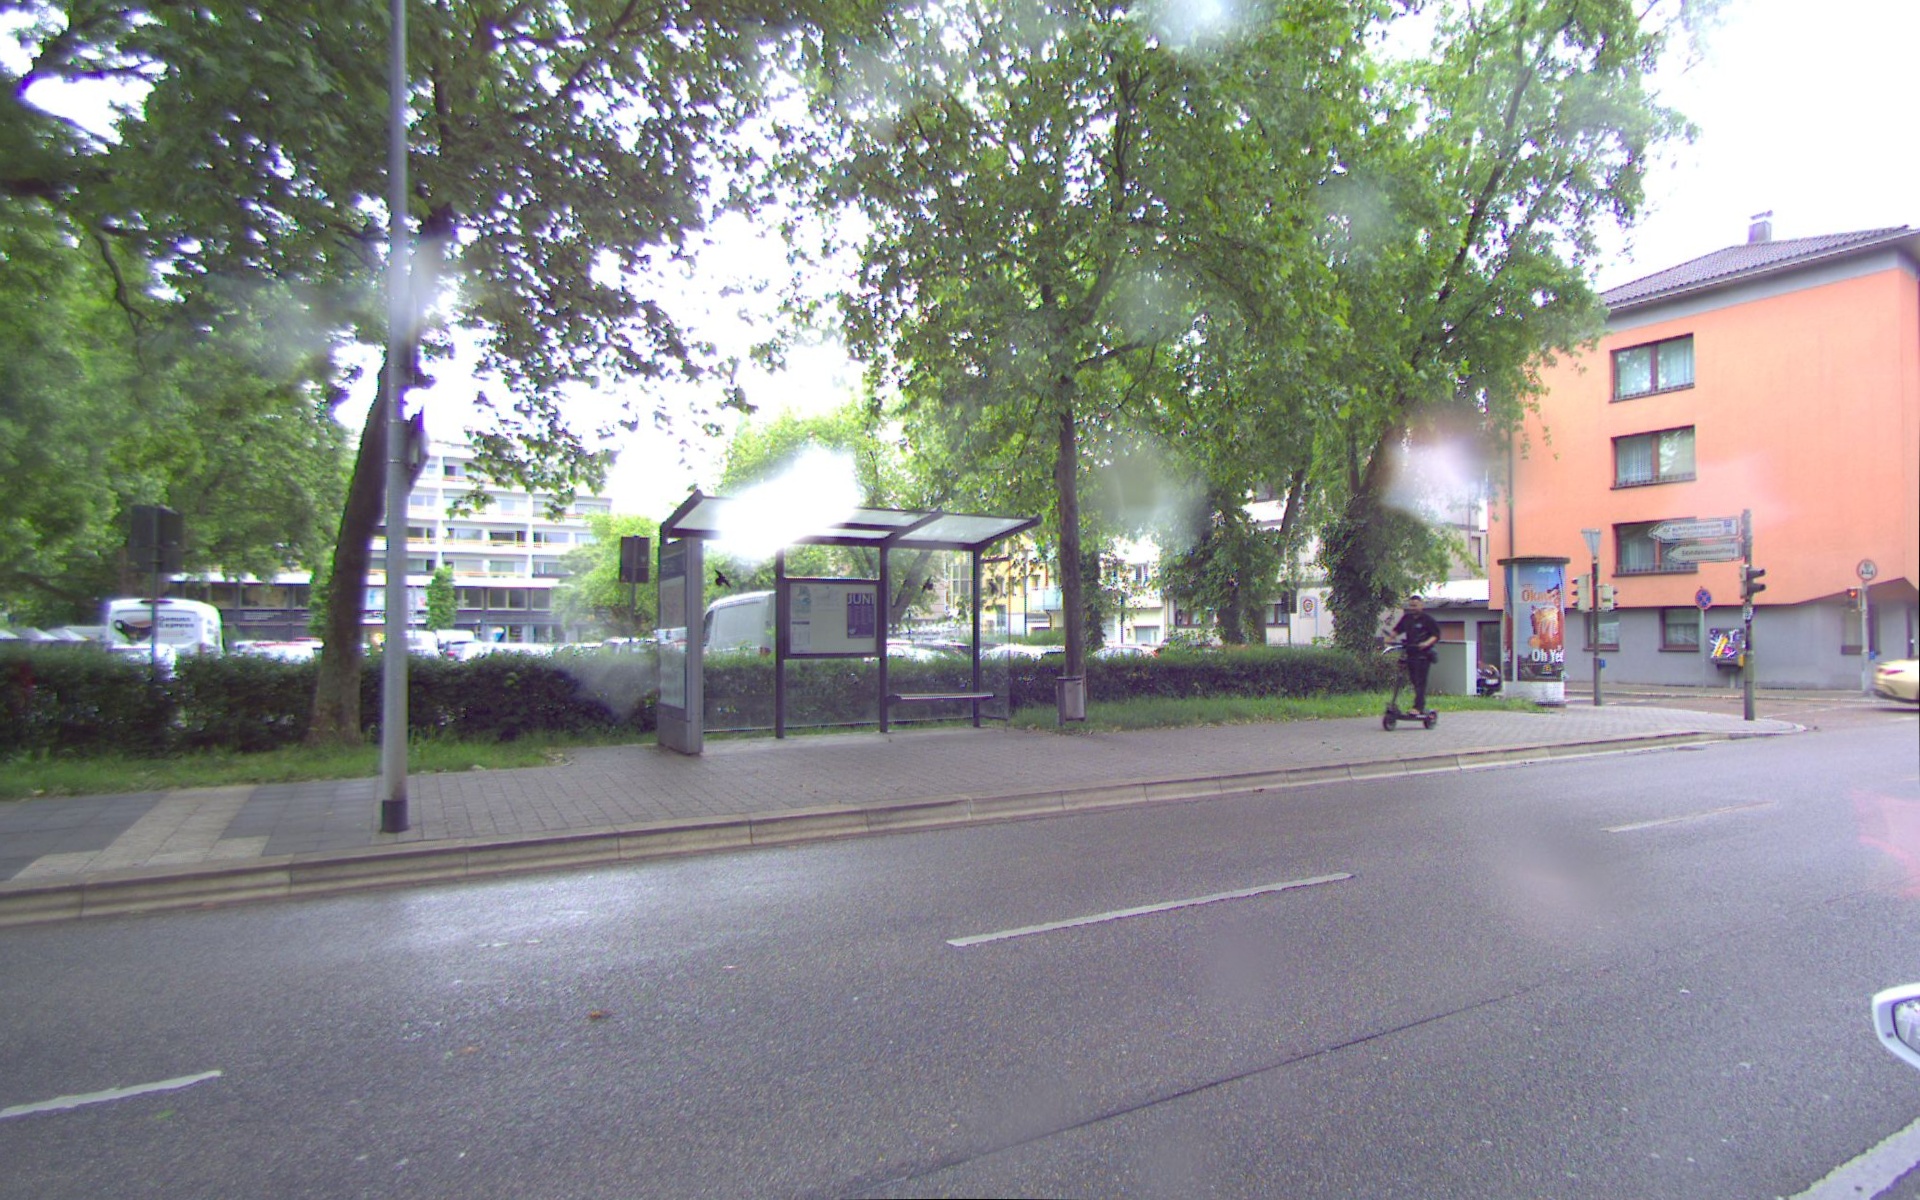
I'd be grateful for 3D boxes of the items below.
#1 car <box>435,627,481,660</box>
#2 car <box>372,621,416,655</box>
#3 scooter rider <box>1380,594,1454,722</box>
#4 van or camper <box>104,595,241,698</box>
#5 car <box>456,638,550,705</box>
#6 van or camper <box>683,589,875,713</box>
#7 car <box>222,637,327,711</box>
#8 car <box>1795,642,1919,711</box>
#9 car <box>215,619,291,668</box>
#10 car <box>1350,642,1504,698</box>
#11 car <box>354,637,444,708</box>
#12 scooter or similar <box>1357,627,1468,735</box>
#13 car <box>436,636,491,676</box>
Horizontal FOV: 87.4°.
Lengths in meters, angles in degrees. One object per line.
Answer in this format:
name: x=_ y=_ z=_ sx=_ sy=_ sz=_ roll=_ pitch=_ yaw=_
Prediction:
car: x=-26.981 y=2.315 z=53.936 sx=1.876 sy=1.506 sz=3.966 roll=2 pitch=0 yaw=-31
car: x=-32.492 y=2.151 z=57.606 sx=2.075 sy=1.745 sz=3.966 roll=2 pitch=0 yaw=-31
scooter rider: x=6.617 y=0.831 z=14.547 sx=0.637 sy=1.789 sz=0.730 roll=2 pitch=-2 yaw=-29
van or camper: x=-20.607 y=1.204 z=26.498 sx=2.073 sy=2.463 sz=4.310 roll=1 pitch=-2 yaw=-28
car: x=-12.528 y=1.887 z=27.403 sx=1.876 sy=1.506 sz=3.966 roll=2 pitch=0 yaw=-31
van or camper: x=-3.472 y=0.900 z=18.489 sx=1.978 sy=1.975 sz=4.572 roll=1 pitch=-2 yaw=-31
car: x=-16.871 y=1.756 z=24.893 sx=1.876 sy=1.506 sz=3.966 roll=2 pitch=0 yaw=-31
car: x=20.762 y=1.613 z=21.328 sx=4.583 sy=1.422 sz=1.822 roll=-3 pitch=-3 yaw=41
car: x=-25.066 y=1.512 z=35.732 sx=1.876 sy=1.506 sz=3.966 roll=2 pitch=0 yaw=-31
car: x=13.765 y=2.041 z=29.680 sx=3.807 sy=1.553 sz=1.794 roll=-2 pitch=-3 yaw=38
car: x=-14.621 y=1.824 z=26.110 sx=1.876 sy=1.506 sz=3.966 roll=2 pitch=0 yaw=-31
scooter or similar: x=6.537 y=1.133 z=14.501 sx=1.382 sy=1.465 sz=0.810 roll=1 pitch=0 yaw=-31
car: x=-22.124 y=2.460 z=44.682 sx=1.876 sy=1.506 sz=3.966 roll=2 pitch=0 yaw=-31
